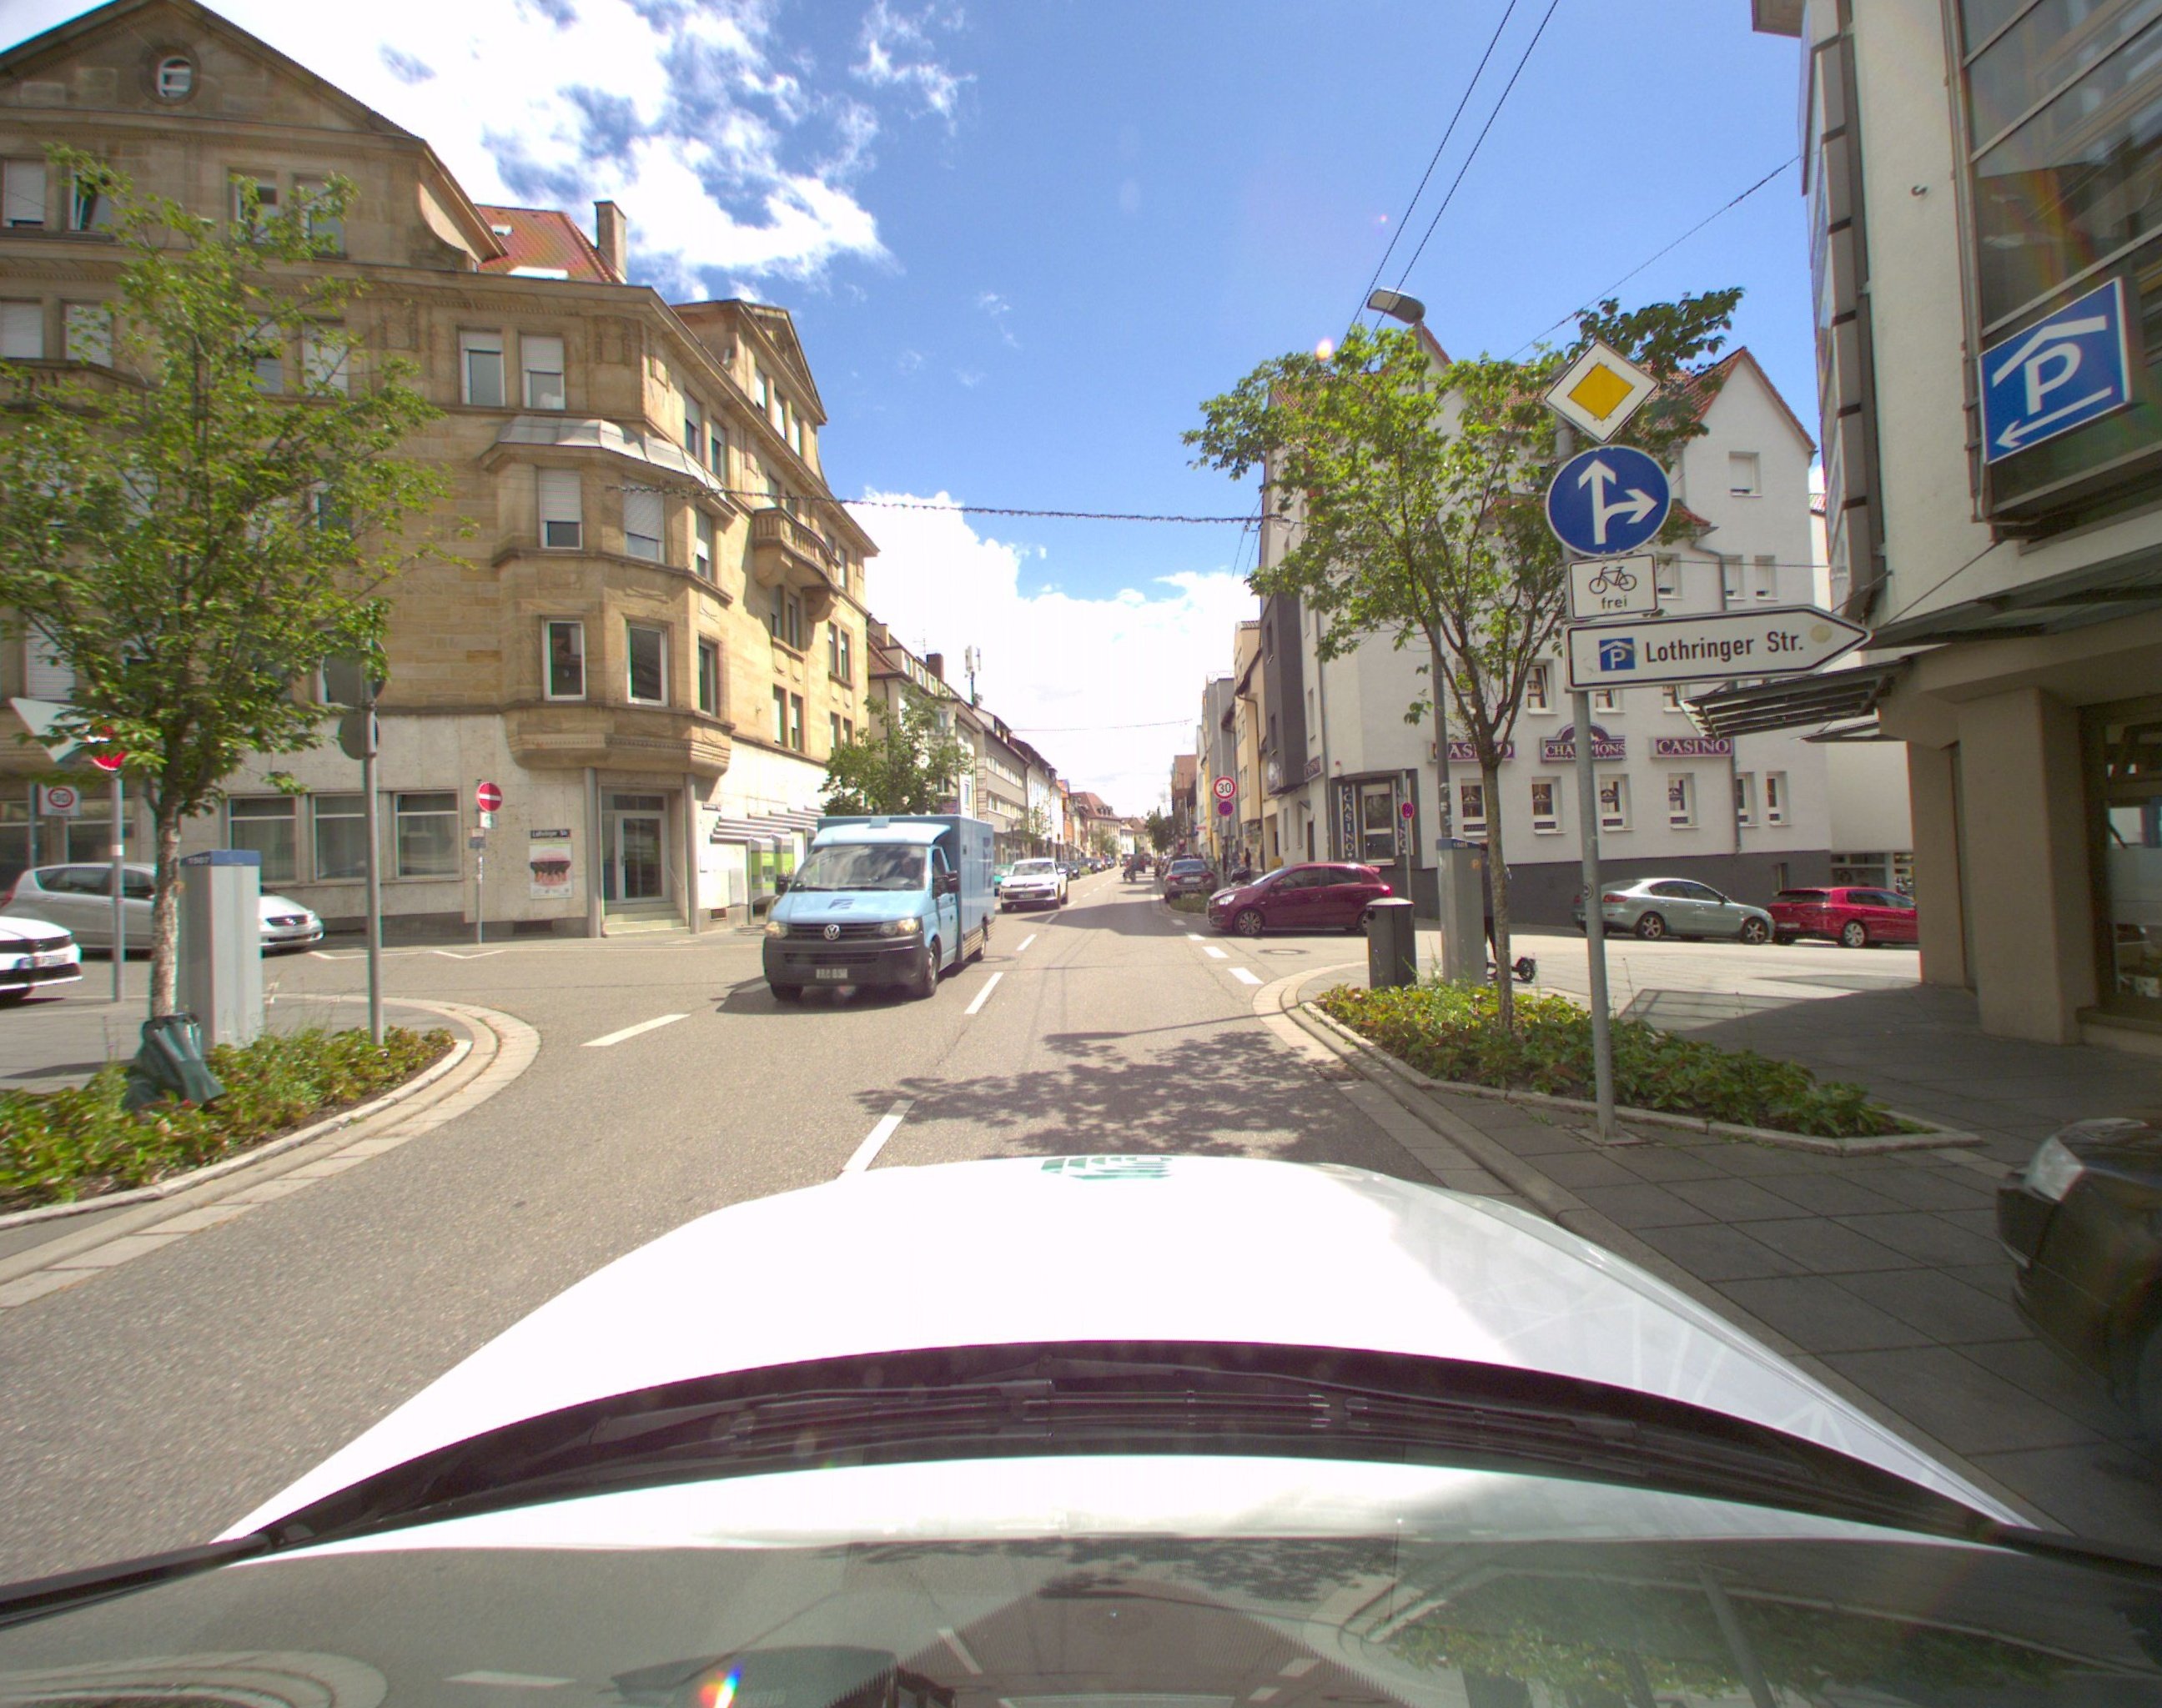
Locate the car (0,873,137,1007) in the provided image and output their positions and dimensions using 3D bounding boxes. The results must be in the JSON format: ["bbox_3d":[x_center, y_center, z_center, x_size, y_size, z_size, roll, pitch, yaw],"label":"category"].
[{"bbox_3d":[-13.414,0.885,8.420,4.378,1.381,1.991,1,-1,-13],"label":"car"}]

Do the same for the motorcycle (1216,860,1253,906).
[{"bbox_3d":[4.381,0.825,23.429,0.656,1.259,2.376,-1,-1,1],"label":"motorcycle"}]

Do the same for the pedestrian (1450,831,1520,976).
[{"bbox_3d":[4.874,0.584,9.840,0.569,1.703,0.481,0,-2,-2],"label":"pedestrian"}]

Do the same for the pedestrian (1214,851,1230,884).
[{"bbox_3d":[7.549,0.712,43.555,0.740,1.718,0.656,-2,-2,3],"label":"pedestrian"}]

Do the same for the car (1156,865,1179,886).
[{"bbox_3d":[6.755,1.663,63.927,1.681,1.472,4.529,-1,1,4],"label":"car"}]

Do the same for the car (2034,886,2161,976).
[{"bbox_3d":[19.558,1.350,14.298,3.875,1.398,1.845,2,0,-7],"label":"car"}]

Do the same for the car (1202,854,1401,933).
[{"bbox_3d":[4.436,0.799,16.778,3.730,1.530,1.538,-1,-1,3],"label":"car"}]

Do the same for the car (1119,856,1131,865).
[{"bbox_3d":[7.607,1.107,139.648,1.896,1.563,4.652,-1,-1,5],"label":"car"}]

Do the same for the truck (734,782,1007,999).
[{"bbox_3d":[-2.547,0.456,11.938,2.098,2.305,6.478,-1,-1,2],"label":"truck"}]

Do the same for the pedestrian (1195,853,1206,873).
[{"bbox_3d":[9.776,0.728,66.499,0.746,1.553,0.727,-3,-2,4],"label":"pedestrian"}]

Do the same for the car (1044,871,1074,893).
[{"bbox_3d":[-1.647,2.113,62.239,1.781,1.513,4.718,-1,-1,5],"label":"car"}]

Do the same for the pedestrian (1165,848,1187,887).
[{"bbox_3d":[4.846,0.689,41.571,0.971,1.863,0.865,-4,-2,3],"label":"pedestrian"}]

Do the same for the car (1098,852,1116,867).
[{"bbox_3d":[3.191,0.717,98.003,1.807,1.755,4.471,-1,-1,6],"label":"car"}]

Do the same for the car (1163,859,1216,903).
[{"bbox_3d":[3.795,0.914,28.502,1.697,1.420,4.327,-1,-1,7],"label":"car"}]

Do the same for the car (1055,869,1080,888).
[{"bbox_3d":[-1.094,1.999,67.150,1.783,1.503,4.179,-1,-1,2],"label":"car"}]

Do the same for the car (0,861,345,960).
[{"bbox_3d":[-15.664,0.915,13.884,4.198,1.561,1.996,0,-1,-5],"label":"car"}]

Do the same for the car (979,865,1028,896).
[{"bbox_3d":[-3.609,1.230,38.582,1.578,1.414,3.674,-1,-1,6],"label":"car"}]

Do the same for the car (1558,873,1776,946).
[{"bbox_3d":[13.495,1.247,18.864,3.875,1.399,1.845,4,-2,-7],"label":"car"}]

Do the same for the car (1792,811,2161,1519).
[{"bbox_3d":[3.005,0.603,0.233,1.708,1.454,4.554,-2,-1,2],"label":"car"}]

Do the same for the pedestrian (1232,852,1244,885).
[{"bbox_3d":[8.169,0.746,42.292,0.533,1.718,0.607,-1,-2,3],"label":"pedestrian"}]

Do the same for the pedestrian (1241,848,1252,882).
[{"bbox_3d":[8.462,0.574,41.591,0.434,1.718,0.537,-1,-2,2],"label":"pedestrian"}]

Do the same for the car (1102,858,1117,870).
[{"bbox_3d":[4.168,1.477,118.114,1.790,1.598,4.395,-2,-1,5],"label":"car"}]

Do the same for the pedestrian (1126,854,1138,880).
[{"bbox_3d":[3.217,0.840,51.243,0.729,1.618,0.651,-1,-1,0],"label":"pedestrian"}]

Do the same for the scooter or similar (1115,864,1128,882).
[{"bbox_3d":[2.563,1.202,51.223,0.779,1.126,0.630,-1,-1,0],"label":"scooter or similar"}]

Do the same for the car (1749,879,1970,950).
[{"bbox_3d":[18.592,1.422,19.541,3.821,1.399,1.845,4,-2,-7],"label":"car"}]

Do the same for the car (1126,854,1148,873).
[{"bbox_3d":[5.527,0.969,80.012,2.031,1.848,5.006,-1,-1,5],"label":"car"}]

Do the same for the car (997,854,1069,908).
[{"bbox_3d":[-1.500,0.873,26.837,1.779,1.640,4.120,-1,-1,4],"label":"car"}]

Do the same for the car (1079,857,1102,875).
[{"bbox_3d":[1.040,1.252,84.778,1.806,1.755,4.678,-1,-1,8],"label":"car"}]

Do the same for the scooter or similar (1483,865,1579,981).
[{"bbox_3d":[5.305,0.777,9.665,0.429,1.280,1.249,-1,-1,0],"label":"scooter or similar"}]

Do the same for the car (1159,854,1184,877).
[{"bbox_3d":[6.593,0.840,59.408,1.681,1.574,3.761,-1,-1,5],"label":"car"}]

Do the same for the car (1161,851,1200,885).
[{"bbox_3d":[5.327,0.737,44.043,1.791,1.603,4.208,-4,-1,4],"label":"car"}]
